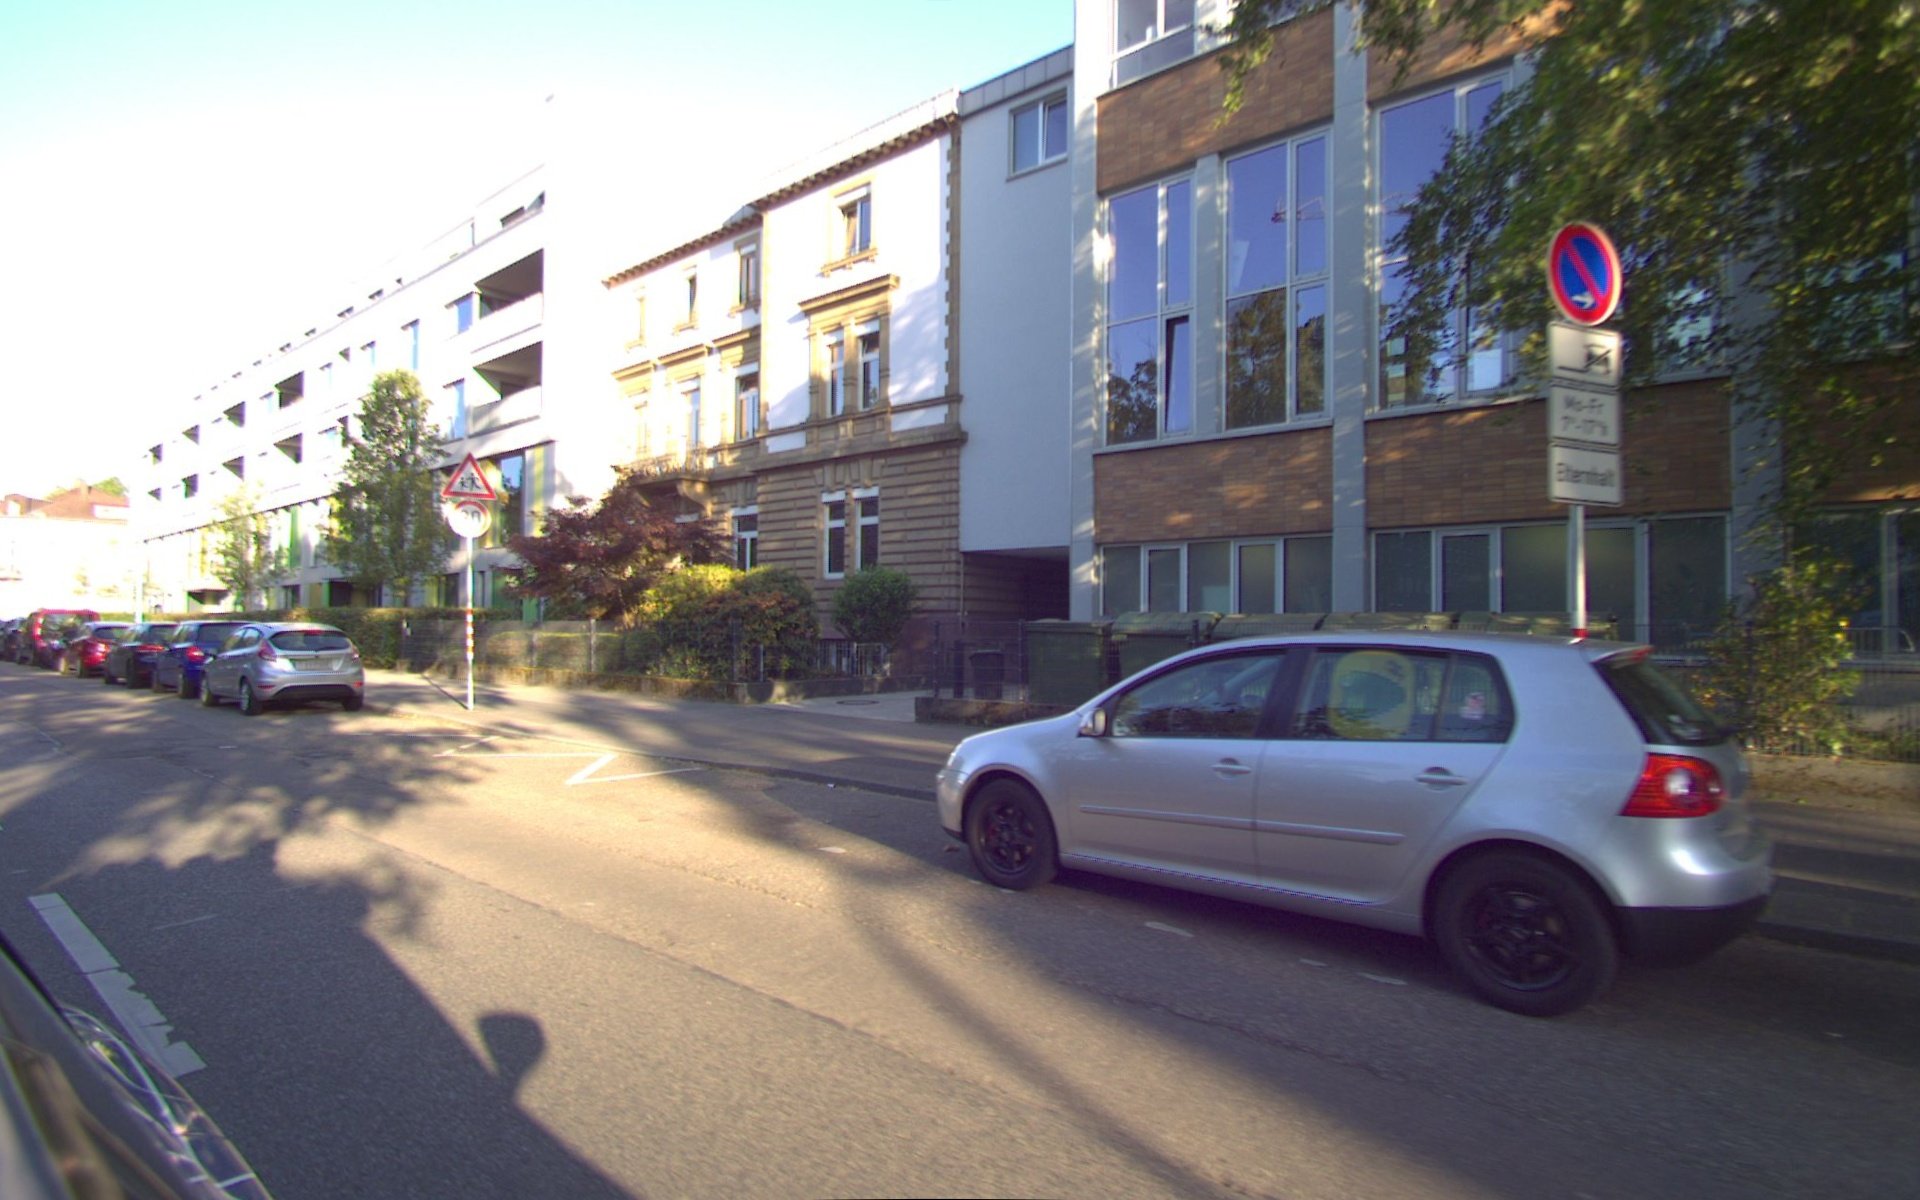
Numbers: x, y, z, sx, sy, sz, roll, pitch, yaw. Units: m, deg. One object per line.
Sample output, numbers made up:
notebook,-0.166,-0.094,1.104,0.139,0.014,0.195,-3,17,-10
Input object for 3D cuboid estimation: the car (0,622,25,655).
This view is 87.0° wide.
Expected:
car,-42.333,1.648,44.212,4.394,1.367,1.724,-1,-3,41

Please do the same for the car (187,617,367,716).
car,-11.727,1.088,17.304,3.770,1.505,1.584,-2,-4,41

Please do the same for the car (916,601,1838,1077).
car,1.806,0.839,5.211,4.060,1.505,1.653,-2,-4,42

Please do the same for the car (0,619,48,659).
car,-38.815,1.565,41.339,4.111,1.545,1.725,-1,-2,39

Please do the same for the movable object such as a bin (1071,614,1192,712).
movable object such as a bin,2.664,0.942,15.759,1.519,1.441,1.086,-1,-2,44

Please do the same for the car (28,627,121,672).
car,-26.815,1.479,30.613,3.730,1.290,1.540,-2,-4,40

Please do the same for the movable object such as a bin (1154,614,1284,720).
movable object such as a bin,3.753,0.929,14.679,1.486,1.441,1.086,-1,-2,44

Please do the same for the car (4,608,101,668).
car,-30.527,1.275,33.996,4.235,1.904,1.789,-2,-4,40

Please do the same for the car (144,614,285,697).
car,-15.083,1.094,20.416,3.787,1.519,1.581,-2,-4,43

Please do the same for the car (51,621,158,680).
car,-23.245,1.324,27.459,3.859,1.466,1.582,-1,-2,40

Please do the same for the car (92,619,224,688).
car,-18.585,1.215,23.398,4.052,1.466,1.582,-2,-4,40

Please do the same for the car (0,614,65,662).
car,-34.645,1.372,37.419,4.413,1.689,1.724,-1,-2,40
